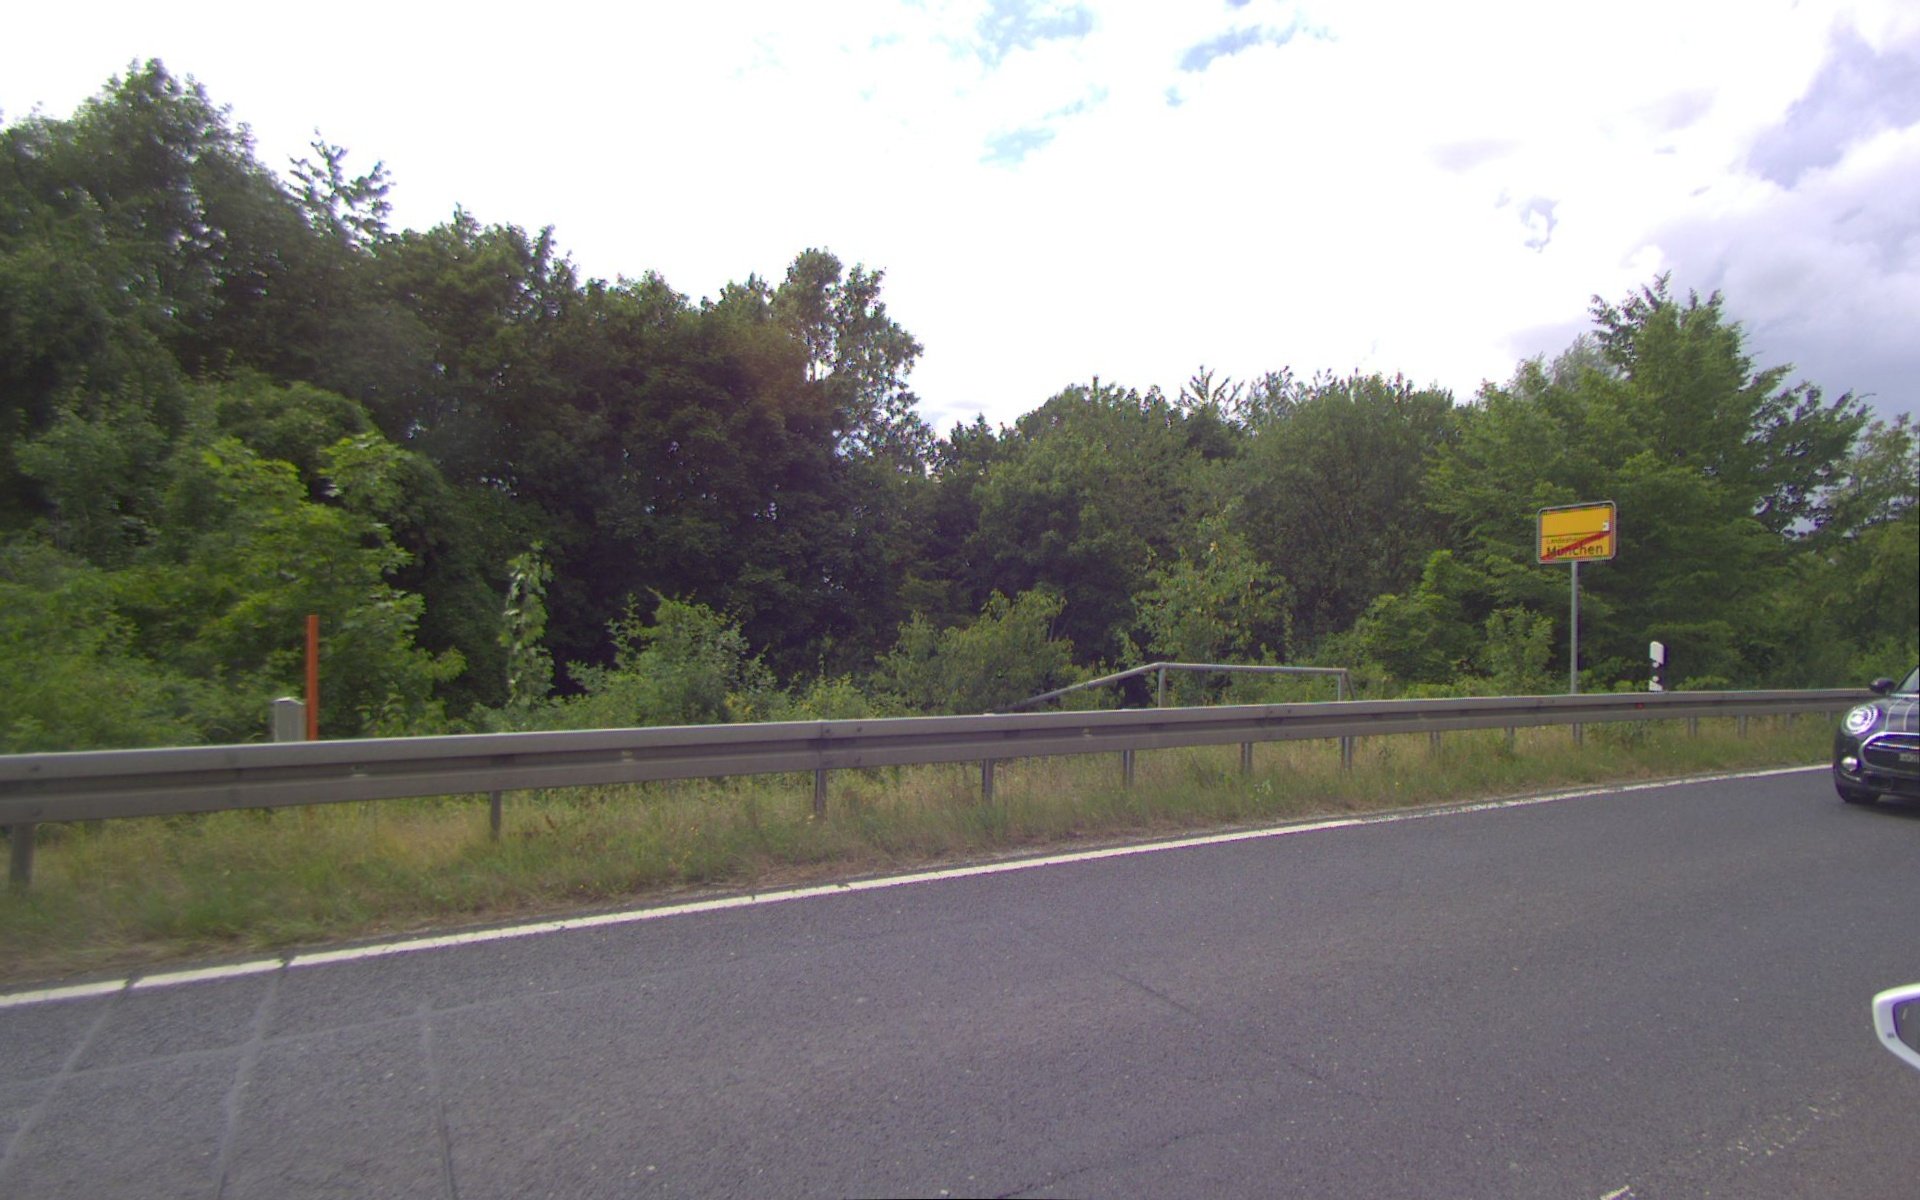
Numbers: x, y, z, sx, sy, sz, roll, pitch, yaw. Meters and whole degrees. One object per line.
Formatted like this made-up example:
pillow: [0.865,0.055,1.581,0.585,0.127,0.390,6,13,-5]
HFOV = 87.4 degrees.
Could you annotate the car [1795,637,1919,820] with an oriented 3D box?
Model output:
car: [9.423,1.084,8.956,3.953,1.439,1.826,1,-1,-31]
